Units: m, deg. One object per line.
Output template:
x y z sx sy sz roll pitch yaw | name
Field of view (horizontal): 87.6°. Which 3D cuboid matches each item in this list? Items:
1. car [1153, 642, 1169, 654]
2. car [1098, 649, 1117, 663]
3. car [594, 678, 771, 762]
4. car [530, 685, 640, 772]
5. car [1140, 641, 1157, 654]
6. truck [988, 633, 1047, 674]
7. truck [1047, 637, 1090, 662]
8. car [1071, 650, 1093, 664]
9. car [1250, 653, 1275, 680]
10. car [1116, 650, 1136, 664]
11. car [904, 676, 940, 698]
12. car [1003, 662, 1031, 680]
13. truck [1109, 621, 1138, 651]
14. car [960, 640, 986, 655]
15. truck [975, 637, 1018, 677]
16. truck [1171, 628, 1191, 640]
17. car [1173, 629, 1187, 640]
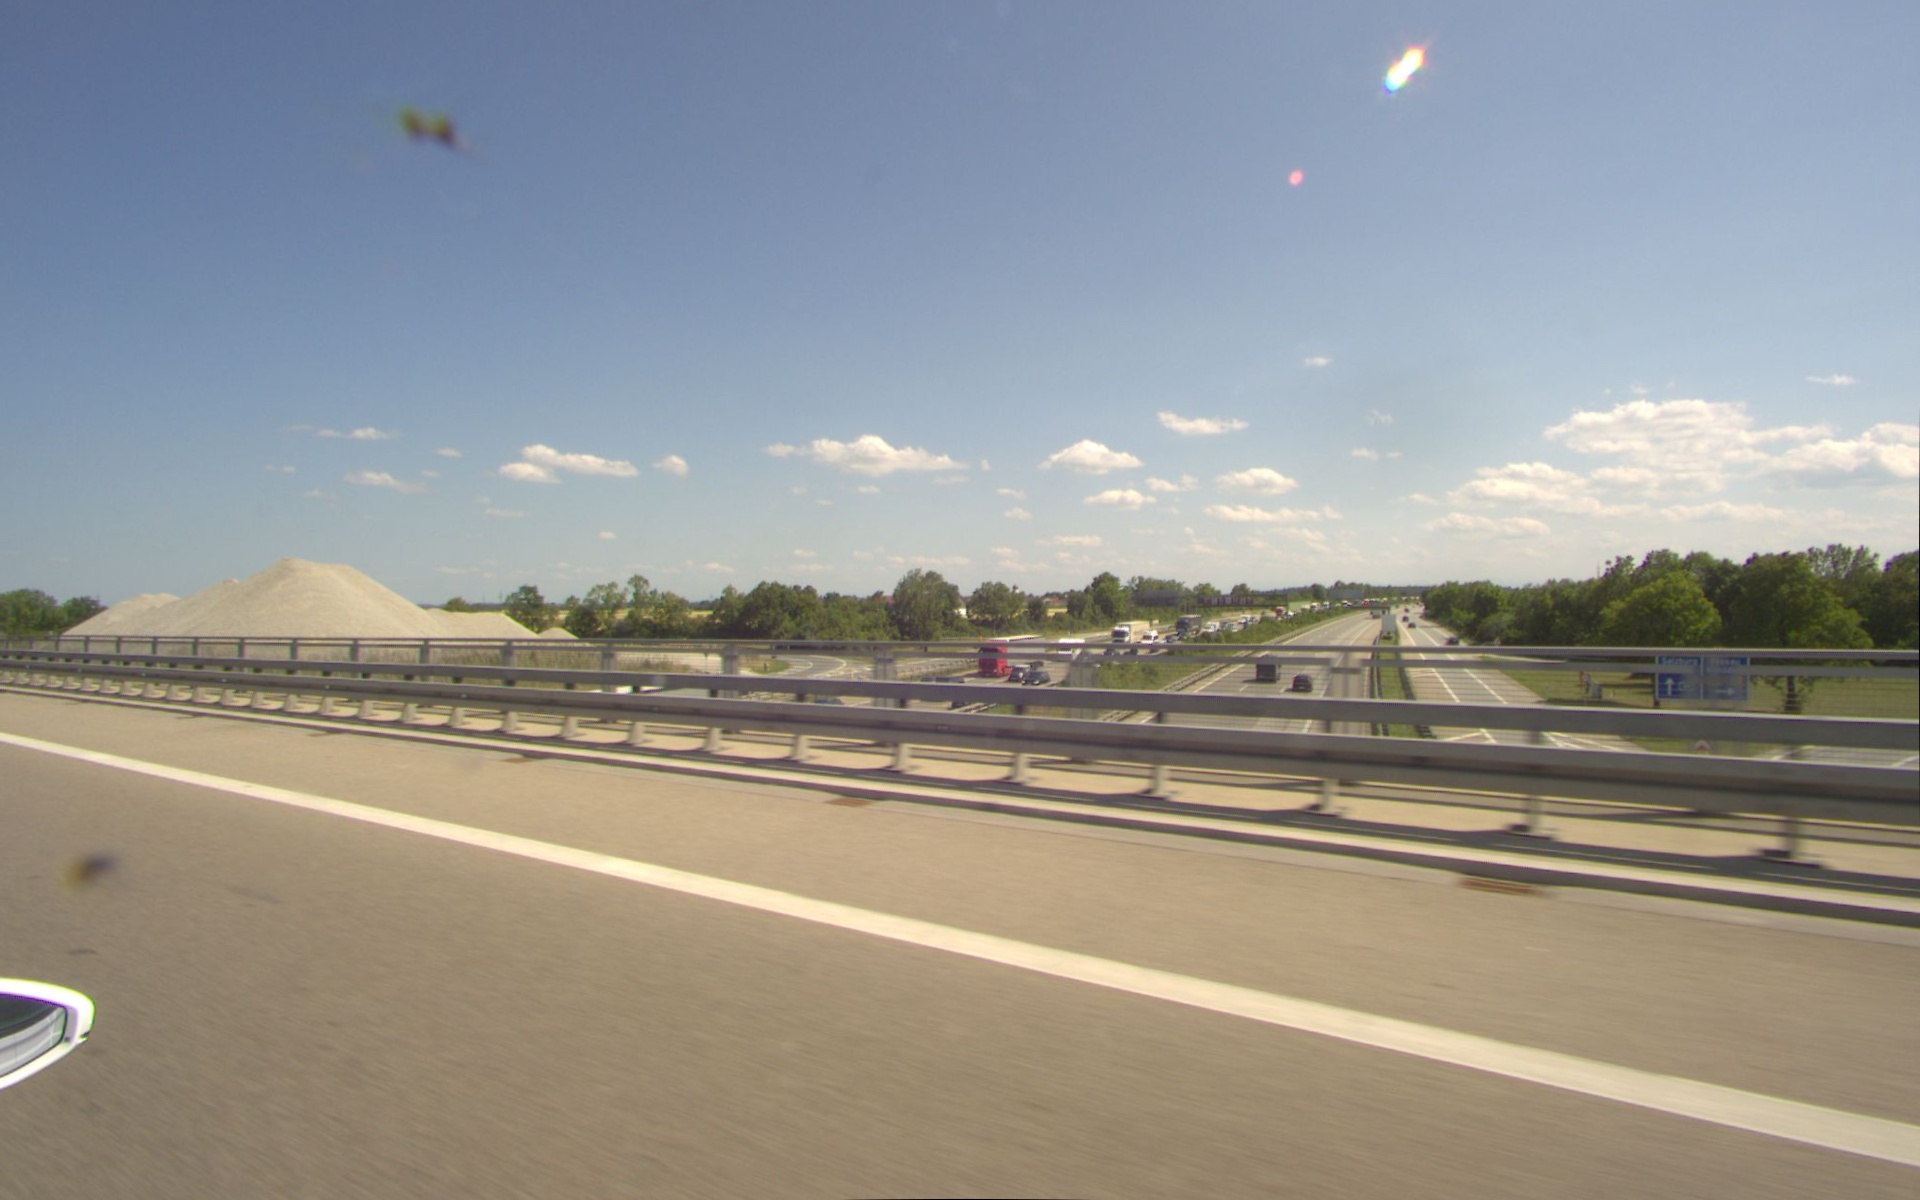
31.261 7.471 155.747 1.829 1.757 4.336 0 -1 21 | car
21.244 8.044 143.810 1.829 1.757 4.336 0 -1 21 | car
-16.161 6.931 59.970 2.442 4.014 12.978 0 -2 24 | car
-19.541 6.620 52.441 2.442 4.014 5.146 0 -2 25 | car
31.584 7.896 167.904 1.966 2.040 4.686 0 -1 21 | car
6.991 6.241 118.851 2.822 4.119 12.538 0 1 23 | truck
15.189 6.868 139.662 3.099 3.099 10.021 0 -1 23 | truck
16.083 7.494 131.742 1.829 1.757 4.336 0 -1 21 | car
30.776 6.746 101.676 2.102 2.479 5.039 0 -1 21 | car
22.637 7.779 136.646 1.829 1.757 4.336 0 -1 21 | car
-3.520 8.156 94.053 1.829 1.757 4.336 0 -1 21 | car
6.133 7.586 107.318 1.829 1.757 4.336 0 -1 21 | car
27.558 6.016 168.382 3.097 4.837 8.224 0 -1 22 | truck
1.682 6.049 127.179 1.829 1.757 4.336 0 -1 21 | car
4.183 6.353 112.372 2.822 4.119 5.938 0 1 24 | truck
47.389 7.281 214.724 3.097 2.564 6.647 0 -1 22 | truck
43.223 6.706 196.646 1.966 2.040 4.686 0 -1 21 | car
